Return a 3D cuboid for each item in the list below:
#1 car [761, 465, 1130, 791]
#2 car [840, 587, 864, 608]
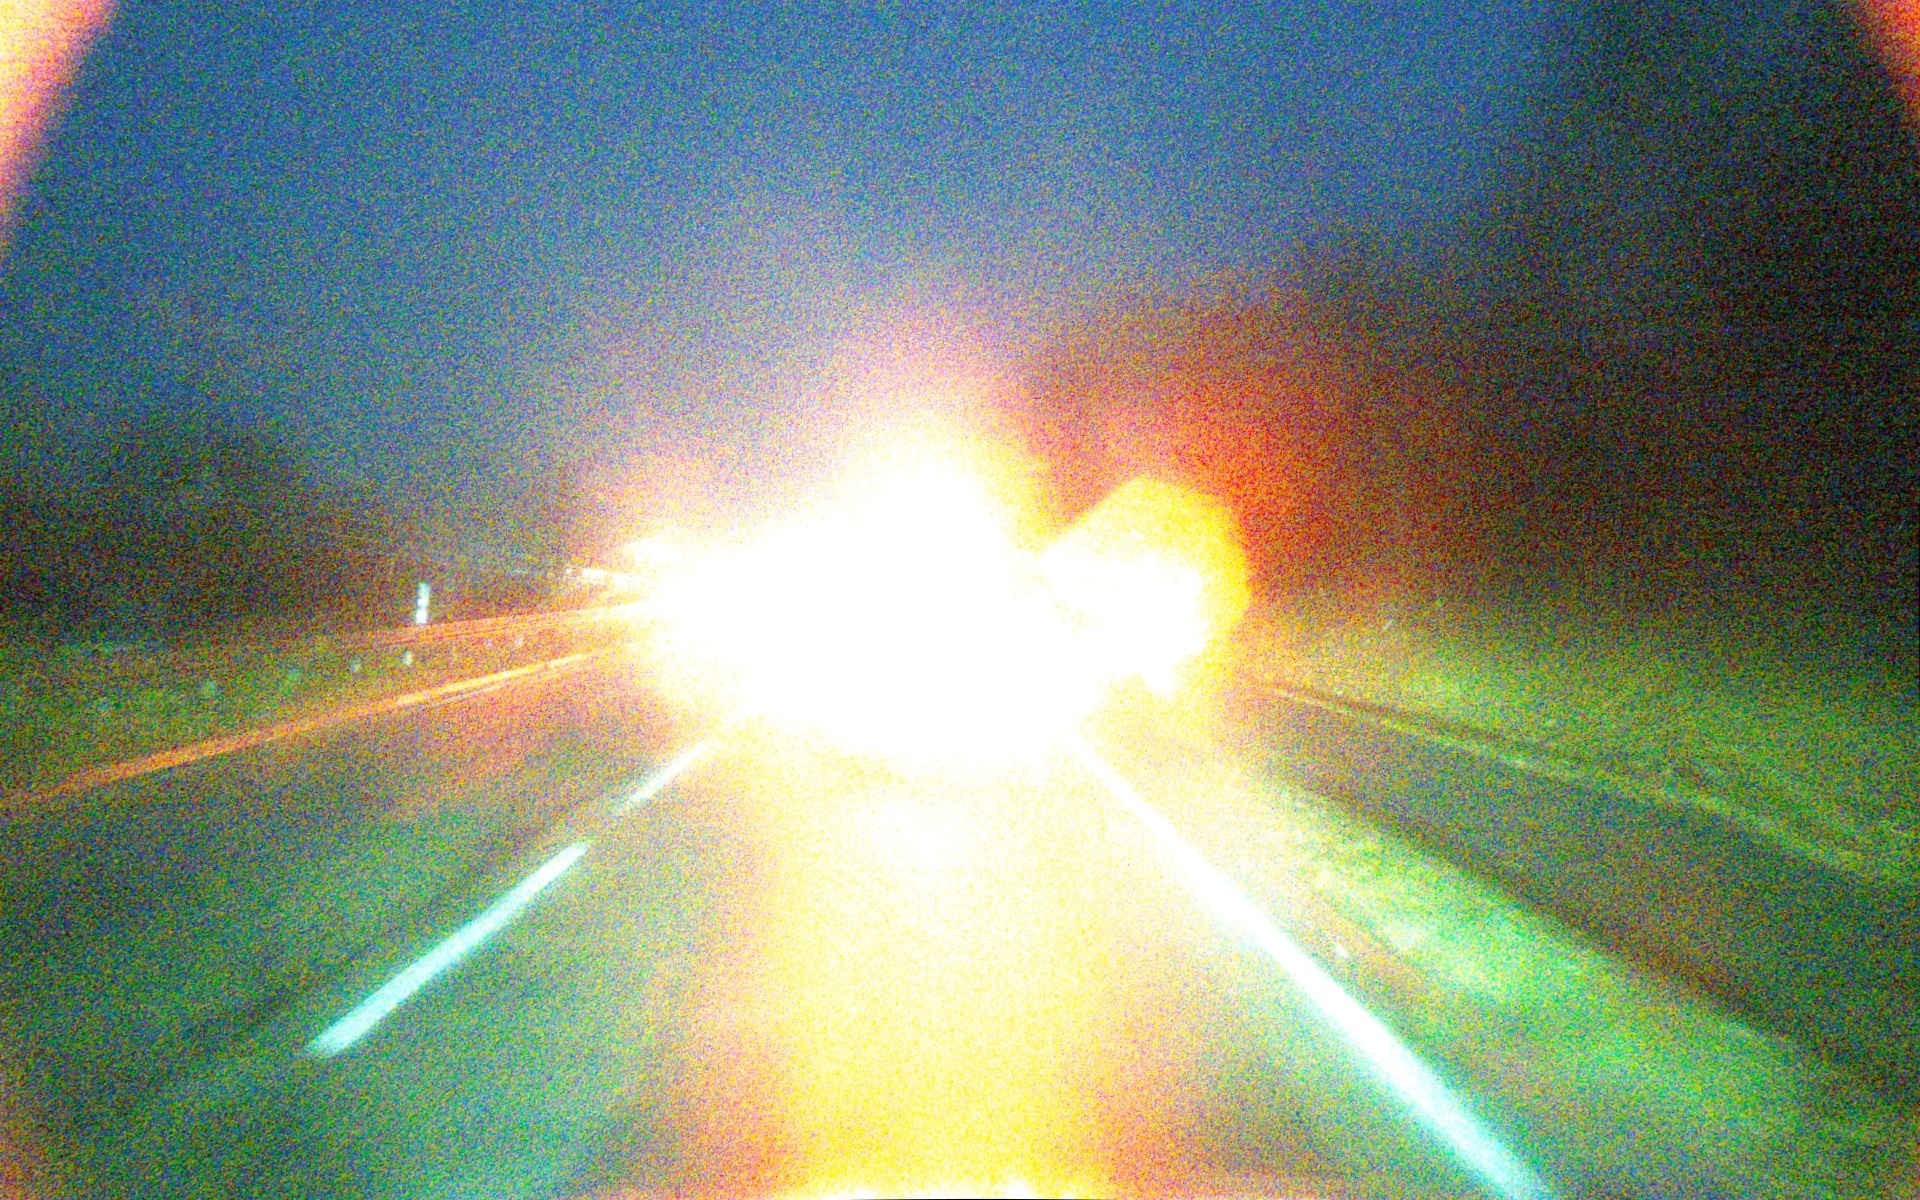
[{"bbox_3d":[-0.203,0.178,15.139,2.661,2.348,6.098,1,1,-2],"label":"car"},{"bbox_3d":[-8.087,-0.169,123.989,1.512,1.537,3.880,1,0,0],"label":"car"}]
